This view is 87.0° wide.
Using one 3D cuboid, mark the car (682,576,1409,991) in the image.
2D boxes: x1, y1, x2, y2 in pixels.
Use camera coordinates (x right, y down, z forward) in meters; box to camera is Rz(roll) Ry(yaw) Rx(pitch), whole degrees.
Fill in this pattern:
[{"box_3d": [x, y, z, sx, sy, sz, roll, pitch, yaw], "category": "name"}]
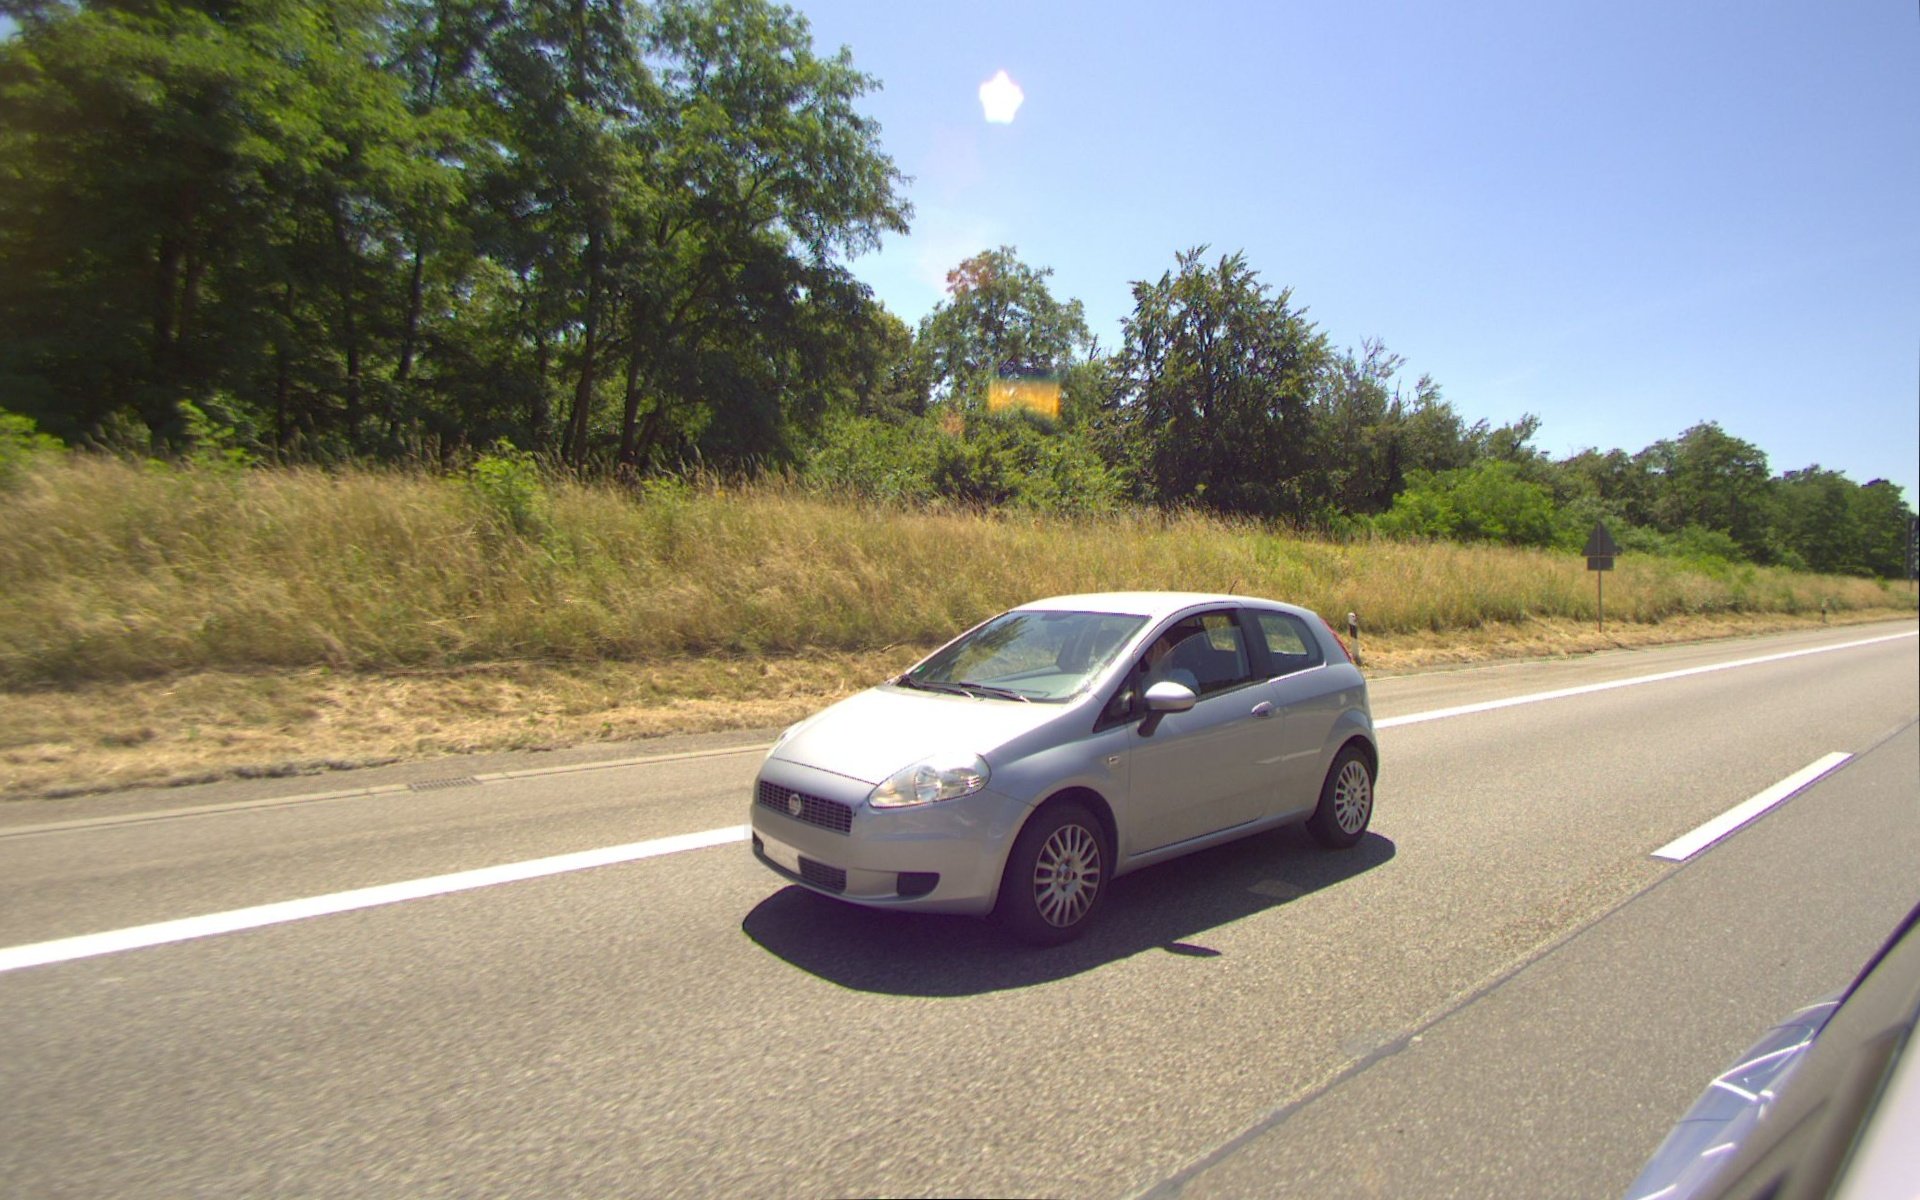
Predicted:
[{"box_3d": [0.681, 0.634, 5.559, 3.910, 1.484, 1.748, -1, 0, -40], "category": "car"}]
